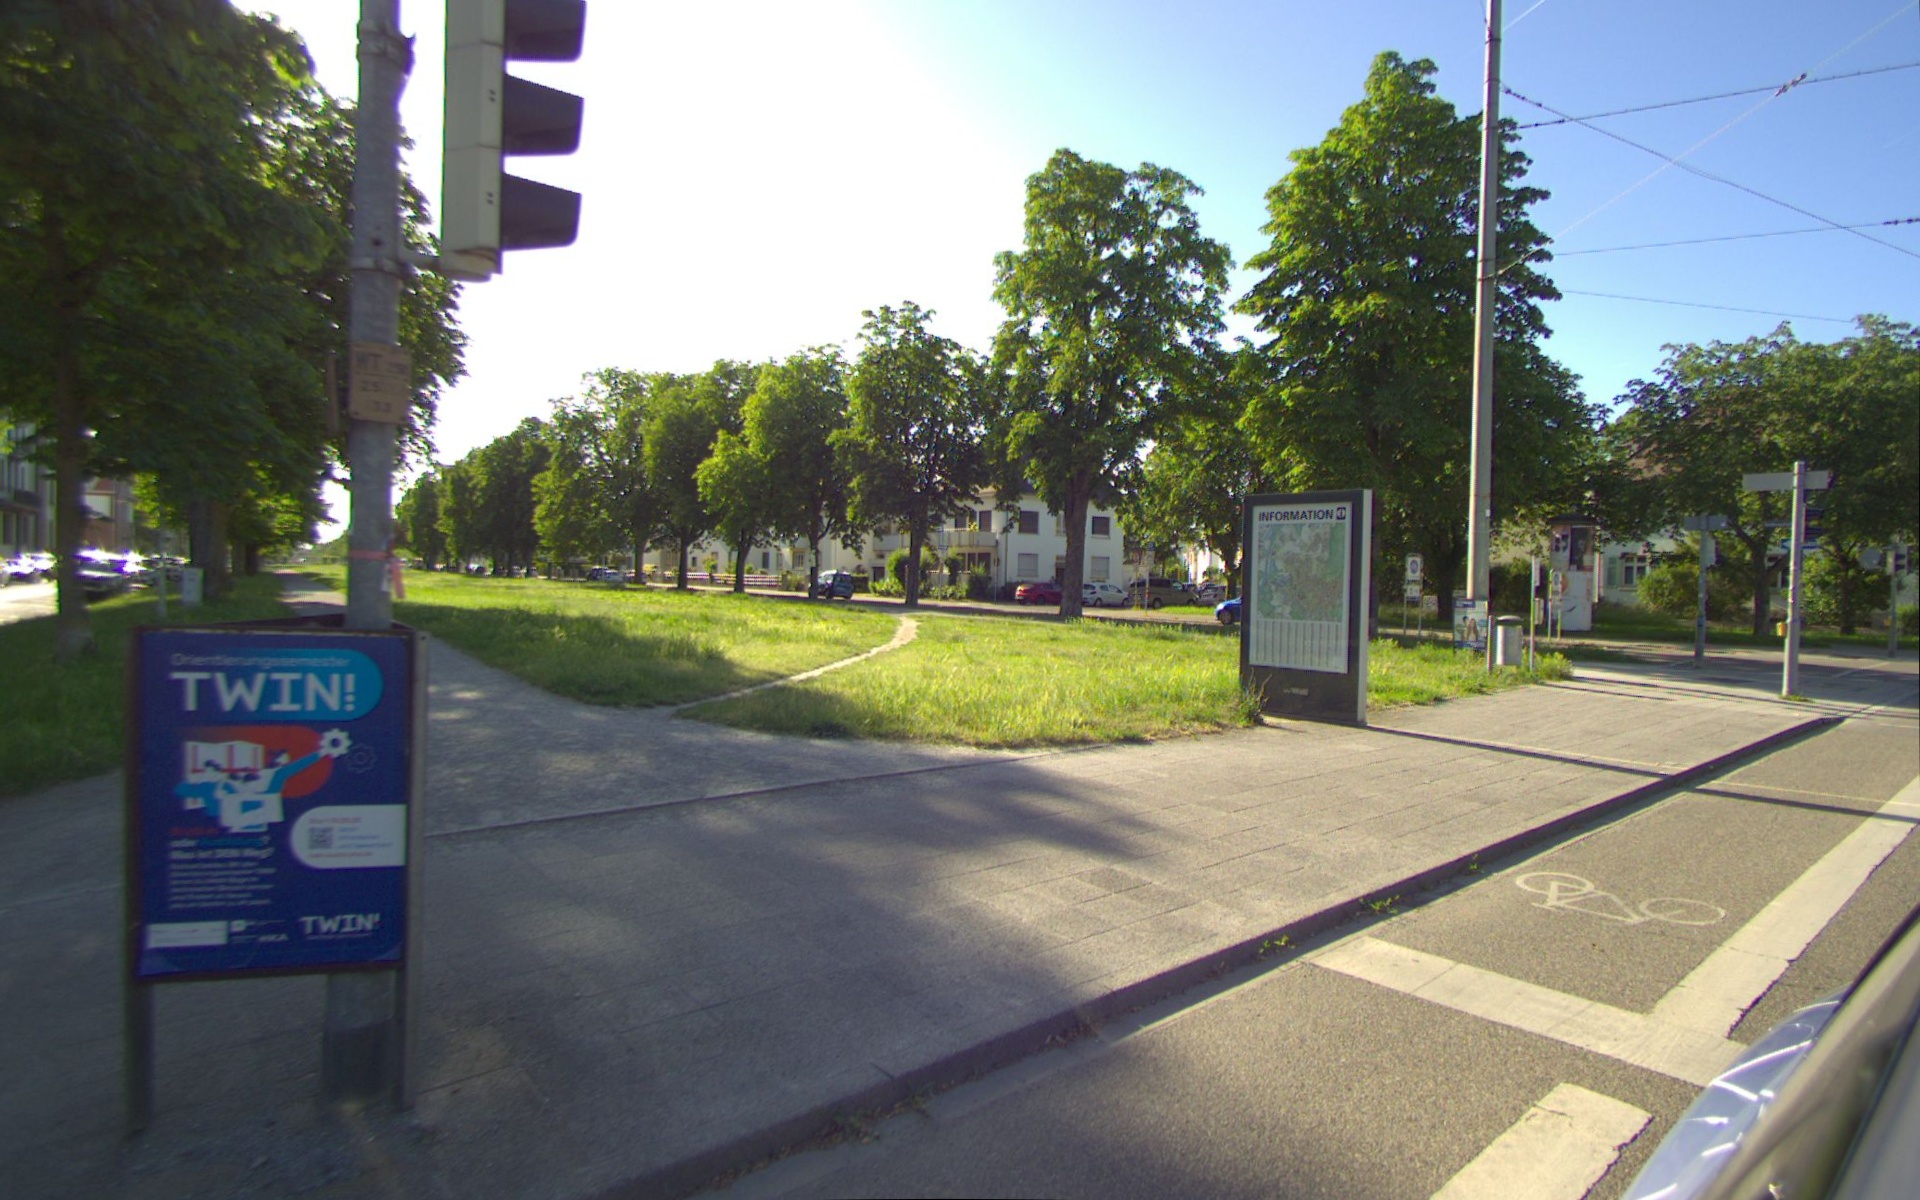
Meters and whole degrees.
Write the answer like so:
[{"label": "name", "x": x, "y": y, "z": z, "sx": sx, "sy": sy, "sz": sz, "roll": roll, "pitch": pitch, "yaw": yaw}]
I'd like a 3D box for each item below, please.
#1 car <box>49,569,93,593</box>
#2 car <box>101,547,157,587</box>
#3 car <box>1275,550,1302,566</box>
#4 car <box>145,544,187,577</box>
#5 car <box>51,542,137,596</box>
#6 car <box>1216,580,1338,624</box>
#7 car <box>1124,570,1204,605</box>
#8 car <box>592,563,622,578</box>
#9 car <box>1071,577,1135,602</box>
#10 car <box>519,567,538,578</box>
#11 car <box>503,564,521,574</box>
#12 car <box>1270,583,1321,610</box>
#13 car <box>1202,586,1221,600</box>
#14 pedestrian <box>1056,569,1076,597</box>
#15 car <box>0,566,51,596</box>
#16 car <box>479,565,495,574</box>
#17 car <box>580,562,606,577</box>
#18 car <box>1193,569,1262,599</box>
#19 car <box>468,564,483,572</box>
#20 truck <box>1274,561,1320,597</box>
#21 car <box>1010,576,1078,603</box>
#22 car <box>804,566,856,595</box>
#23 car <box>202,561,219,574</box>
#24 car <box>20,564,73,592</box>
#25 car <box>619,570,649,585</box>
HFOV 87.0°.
[{"label": "car", "x": -61.825, "y": -1.304, "z": 70.429, "sx": 1.701, "sy": 1.624, "sz": 3.707, "roll": 1, "pitch": -1, "yaw": -32}, {"label": "car", "x": -42.796, "y": -1.647, "z": 52.193, "sx": 1.891, "sy": 1.906, "sz": 3.705, "roll": 1, "pitch": -1, "yaw": -35}, {"label": "car", "x": 31.741, "y": -4.046, "z": 97.920, "sx": 1.730, "sy": 1.489, "sz": 3.888, "roll": 2, "pitch": 1, "yaw": 8}, {"label": "car", "x": -53.711, "y": -2.623, "z": 68.517, "sx": 1.891, "sy": 2.057, "sz": 4.663, "roll": 1, "pitch": -1, "yaw": -34}, {"label": "car", "x": -33.096, "y": -1.125, "z": 38.774, "sx": 1.890, "sy": 1.906, "sz": 3.708, "roll": 1, "pitch": -1, "yaw": -31}, {"label": "car", "x": 11.638, "y": 0.037, "z": 37.370, "sx": 1.784, "sy": 1.451, "sz": 3.997, "roll": -1, "pitch": 2, "yaw": -39}, {"label": "car", "x": 11.550, "y": -0.703, "z": 57.264, "sx": 4.257, "sy": 1.858, "sz": 1.924, "roll": 1, "pitch": 1, "yaw": -33}, {"label": "car", "x": -34.273, "y": -2.867, "z": 98.212, "sx": 1.791, "sy": 1.451, "sz": 4.001, "roll": 1, "pitch": 2, "yaw": -35}, {"label": "car", "x": 9.016, "y": -0.643, "z": 63.636, "sx": 3.822, "sy": 1.489, "sz": 1.759, "roll": 1, "pitch": 1, "yaw": -36}, {"label": "car", "x": -62.291, "y": -3.974, "z": 146.004, "sx": 1.791, "sy": 1.451, "sz": 4.001, "roll": 1, "pitch": 2, "yaw": -35}, {"label": "car", "x": -69.032, "y": -4.713, "z": 155.933, "sx": 1.791, "sy": 1.451, "sz": 4.001, "roll": 1, "pitch": 2, "yaw": -35}, {"label": "car", "x": 21.286, "y": -0.220, "z": 64.124, "sx": 1.601, "sy": 1.554, "sz": 4.218, "roll": 2, "pitch": 0, "yaw": 41}, {"label": "car", "x": 28.995, "y": -0.860, "z": 116.714, "sx": 1.730, "sy": 1.489, "sz": 3.887, "roll": 2, "pitch": 1, "yaw": 9}, {"label": "pedestrian", "x": 6.900, "y": -1.111, "z": 66.010, "sx": 0.882, "sy": 1.792, "sz": 1.026, "roll": 1, "pitch": -1, "yaw": -31}, {"label": "car", "x": -52.327, "y": -1.033, "z": 56.471, "sx": 1.701, "sy": 1.624, "sz": 3.707, "roll": 1, "pitch": -1, "yaw": -32}, {"label": "car", "x": -78.312, "y": -5.019, "z": 167.455, "sx": 1.791, "sy": 1.451, "sz": 4.001, "roll": 1, "pitch": 2, "yaw": -35}, {"label": "car", "x": -41.840, "y": -3.448, "z": 115.425, "sx": 1.790, "sy": 1.624, "sz": 4.001, "roll": 2, "pitch": 1, "yaw": -35}, {"label": "car", "x": 15.962, "y": -0.939, "z": 60.350, "sx": 3.637, "sy": 1.668, "sz": 1.926, "roll": 1, "pitch": 1, "yaw": -28}, {"label": "car", "x": -87.658, "y": -5.817, "z": 183.069, "sx": 1.791, "sy": 1.451, "sz": 4.001, "roll": 1, "pitch": 2, "yaw": -35}, {"label": "truck", "x": 25.270, "y": -1.589, "z": 76.048, "sx": 1.964, "sy": 2.608, "sz": 4.977, "roll": 1, "pitch": 1, "yaw": 3}, {"label": "car", "x": 5.039, "y": -0.629, "z": 60.616, "sx": 3.822, "sy": 1.489, "sz": 1.759, "roll": 1, "pitch": 1, "yaw": -36}, {"label": "car", "x": -8.647, "y": -1.262, "z": 66.999, "sx": 1.782, "sy": 1.848, "sz": 4.000, "roll": -2, "pitch": 1, "yaw": -35}, {"label": "car", "x": -92.127, "y": -3.953, "z": 124.428, "sx": 1.619, "sy": 1.538, "sz": 3.405, "roll": 1, "pitch": 1, "yaw": -35}, {"label": "car", "x": -55.376, "y": -1.299, "z": 61.383, "sx": 1.701, "sy": 1.624, "sz": 3.707, "roll": 1, "pitch": -1, "yaw": -32}, {"label": "car", "x": -33.411, "y": -2.308, "z": 103.721, "sx": 1.791, "sy": 1.451, "sz": 4.001, "roll": 1, "pitch": 2, "yaw": -35}]
